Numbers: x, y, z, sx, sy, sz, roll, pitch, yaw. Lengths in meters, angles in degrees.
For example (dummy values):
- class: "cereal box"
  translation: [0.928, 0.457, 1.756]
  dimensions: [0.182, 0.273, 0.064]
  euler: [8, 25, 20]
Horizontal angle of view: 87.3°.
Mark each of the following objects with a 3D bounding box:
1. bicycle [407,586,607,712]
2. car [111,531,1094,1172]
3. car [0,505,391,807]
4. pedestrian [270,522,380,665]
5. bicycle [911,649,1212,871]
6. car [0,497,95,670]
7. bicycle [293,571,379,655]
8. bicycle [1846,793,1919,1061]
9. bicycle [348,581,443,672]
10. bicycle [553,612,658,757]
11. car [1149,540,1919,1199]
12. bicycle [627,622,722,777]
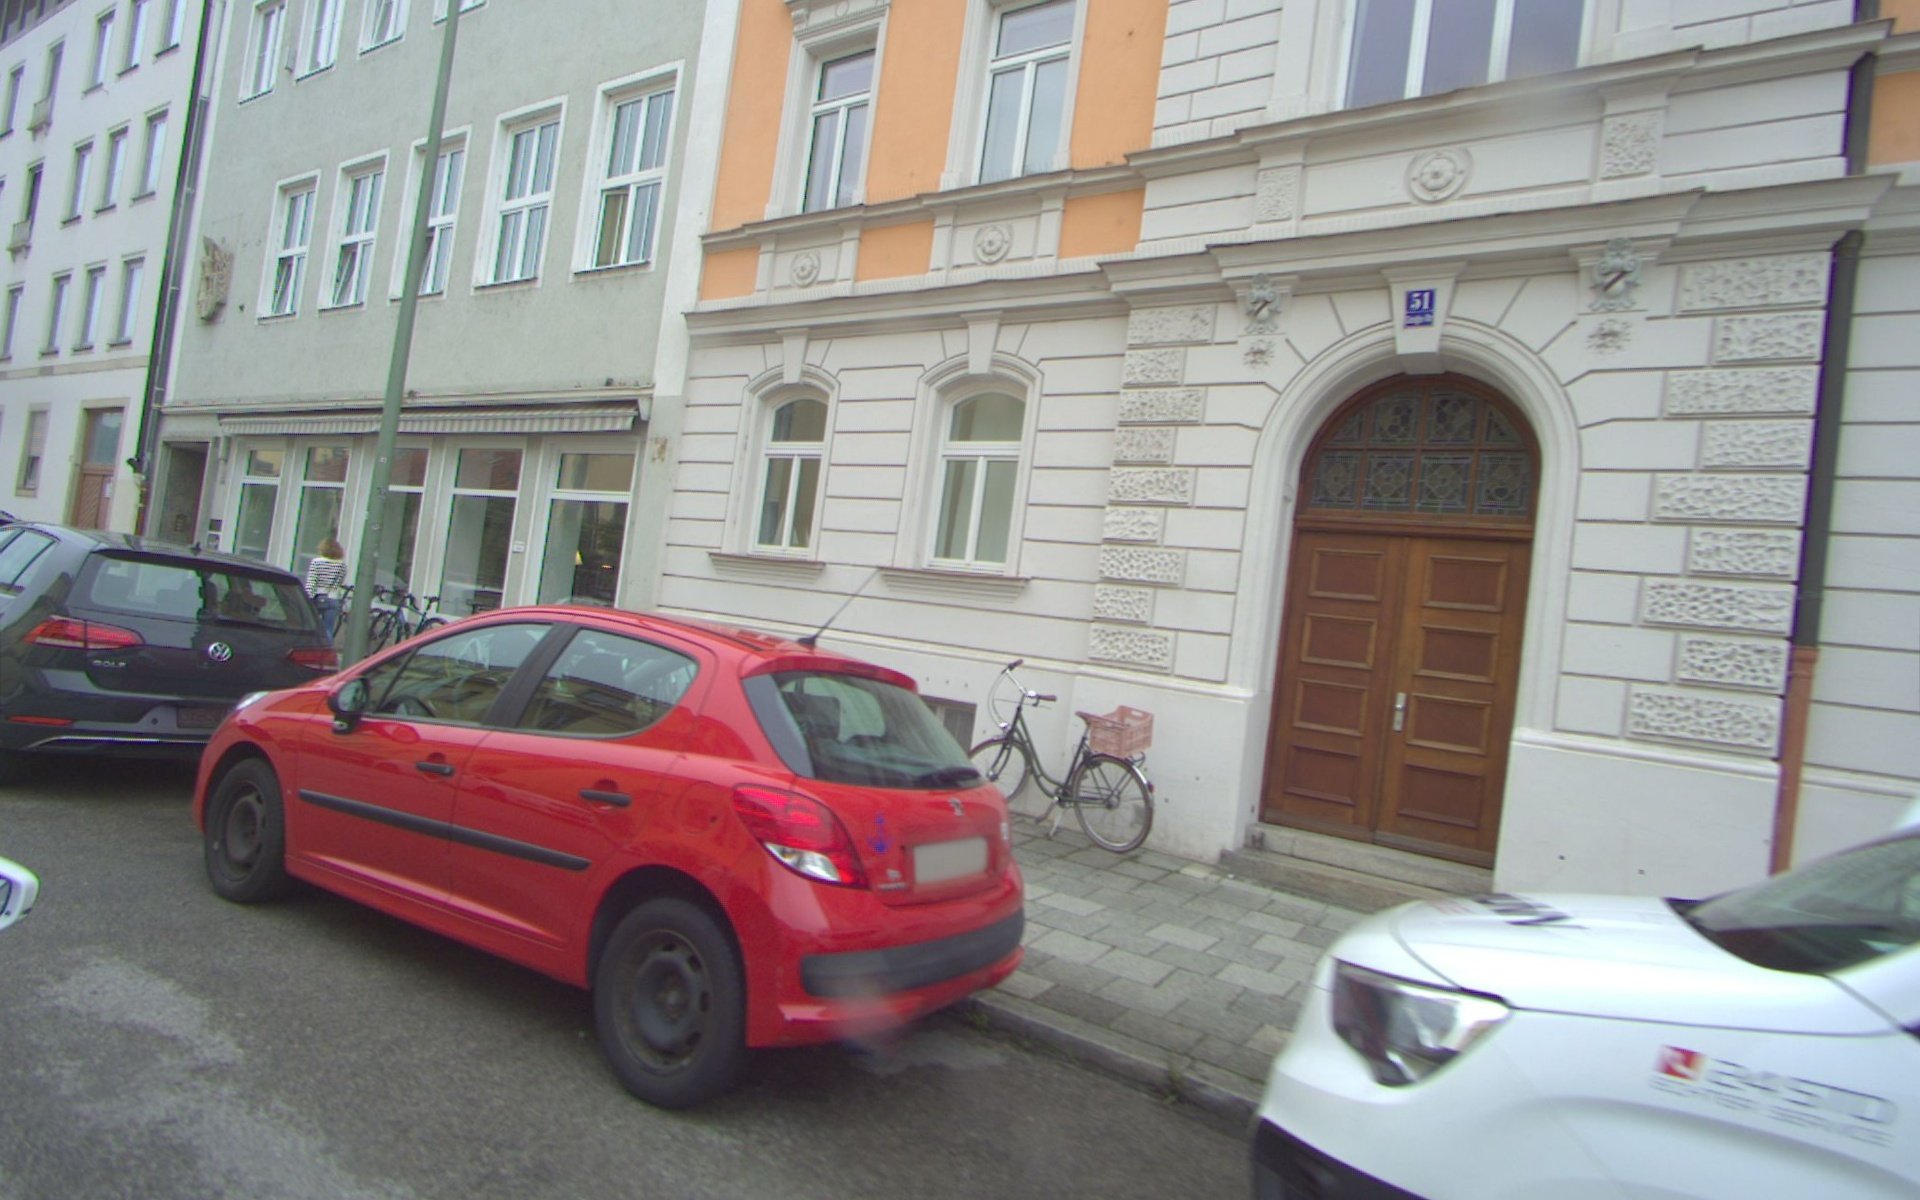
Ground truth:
- class: "bicycle"
  translation: [-5.171, 0.535, 11.410]
  dimensions: [2.418, 1.087, 0.770]
  euler: [7, -2, 33]
- class: "car"
  translation: [-1.753, 0.713, 4.479]
  dimensions: [4.229, 1.466, 1.604]
  euler: [6, -5, 30]
- class: "car"
  translation: [-5.832, 0.234, 6.740]
  dimensions: [4.017, 1.466, 1.697]
  euler: [6, -5, 33]
- class: "pedestrian"
  translation: [-7.900, -0.077, 12.525]
  dimensions: [0.814, 1.645, 0.735]
  euler: [7, 0, 33]
- class: "bicycle"
  translation: [0.716, 1.125, 7.563]
  dimensions: [2.062, 1.198, 0.651]
  euler: [8, 1, 35]
- class: "car"
  translation: [-11.066, -0.400, 10.487]
  dimensions: [4.014, 1.599, 1.698]
  euler: [6, -5, 30]
- class: "bicycle"
  translation: [-8.821, 0.177, 14.198]
  dimensions: [1.497, 1.016, 0.331]
  euler: [7, -1, 33]
- class: "bicycle"
  translation: [5.498, 1.716, 4.530]
  dimensions: [2.062, 1.198, 0.651]
  euler: [8, 1, 35]
- class: "bicycle"
  translation: [-7.485, 0.338, 13.322]
  dimensions: [1.497, 1.016, 0.331]
  euler: [7, -1, 33]
- class: "bicycle"
  translation: [-3.409, 0.758, 9.837]
  dimensions: [0.600, 1.197, 2.091]
  euler: [8, -2, -13]
- class: "car"
  translation: [2.949, 1.132, 1.579]
  dimensions: [4.815, 1.804, 1.847]
  euler: [6, -5, 32]
- class: "bicycle"
  translation: [-2.617, 0.858, 9.399]
  dimensions: [0.600, 1.197, 2.091]
  euler: [8, -2, -13]
